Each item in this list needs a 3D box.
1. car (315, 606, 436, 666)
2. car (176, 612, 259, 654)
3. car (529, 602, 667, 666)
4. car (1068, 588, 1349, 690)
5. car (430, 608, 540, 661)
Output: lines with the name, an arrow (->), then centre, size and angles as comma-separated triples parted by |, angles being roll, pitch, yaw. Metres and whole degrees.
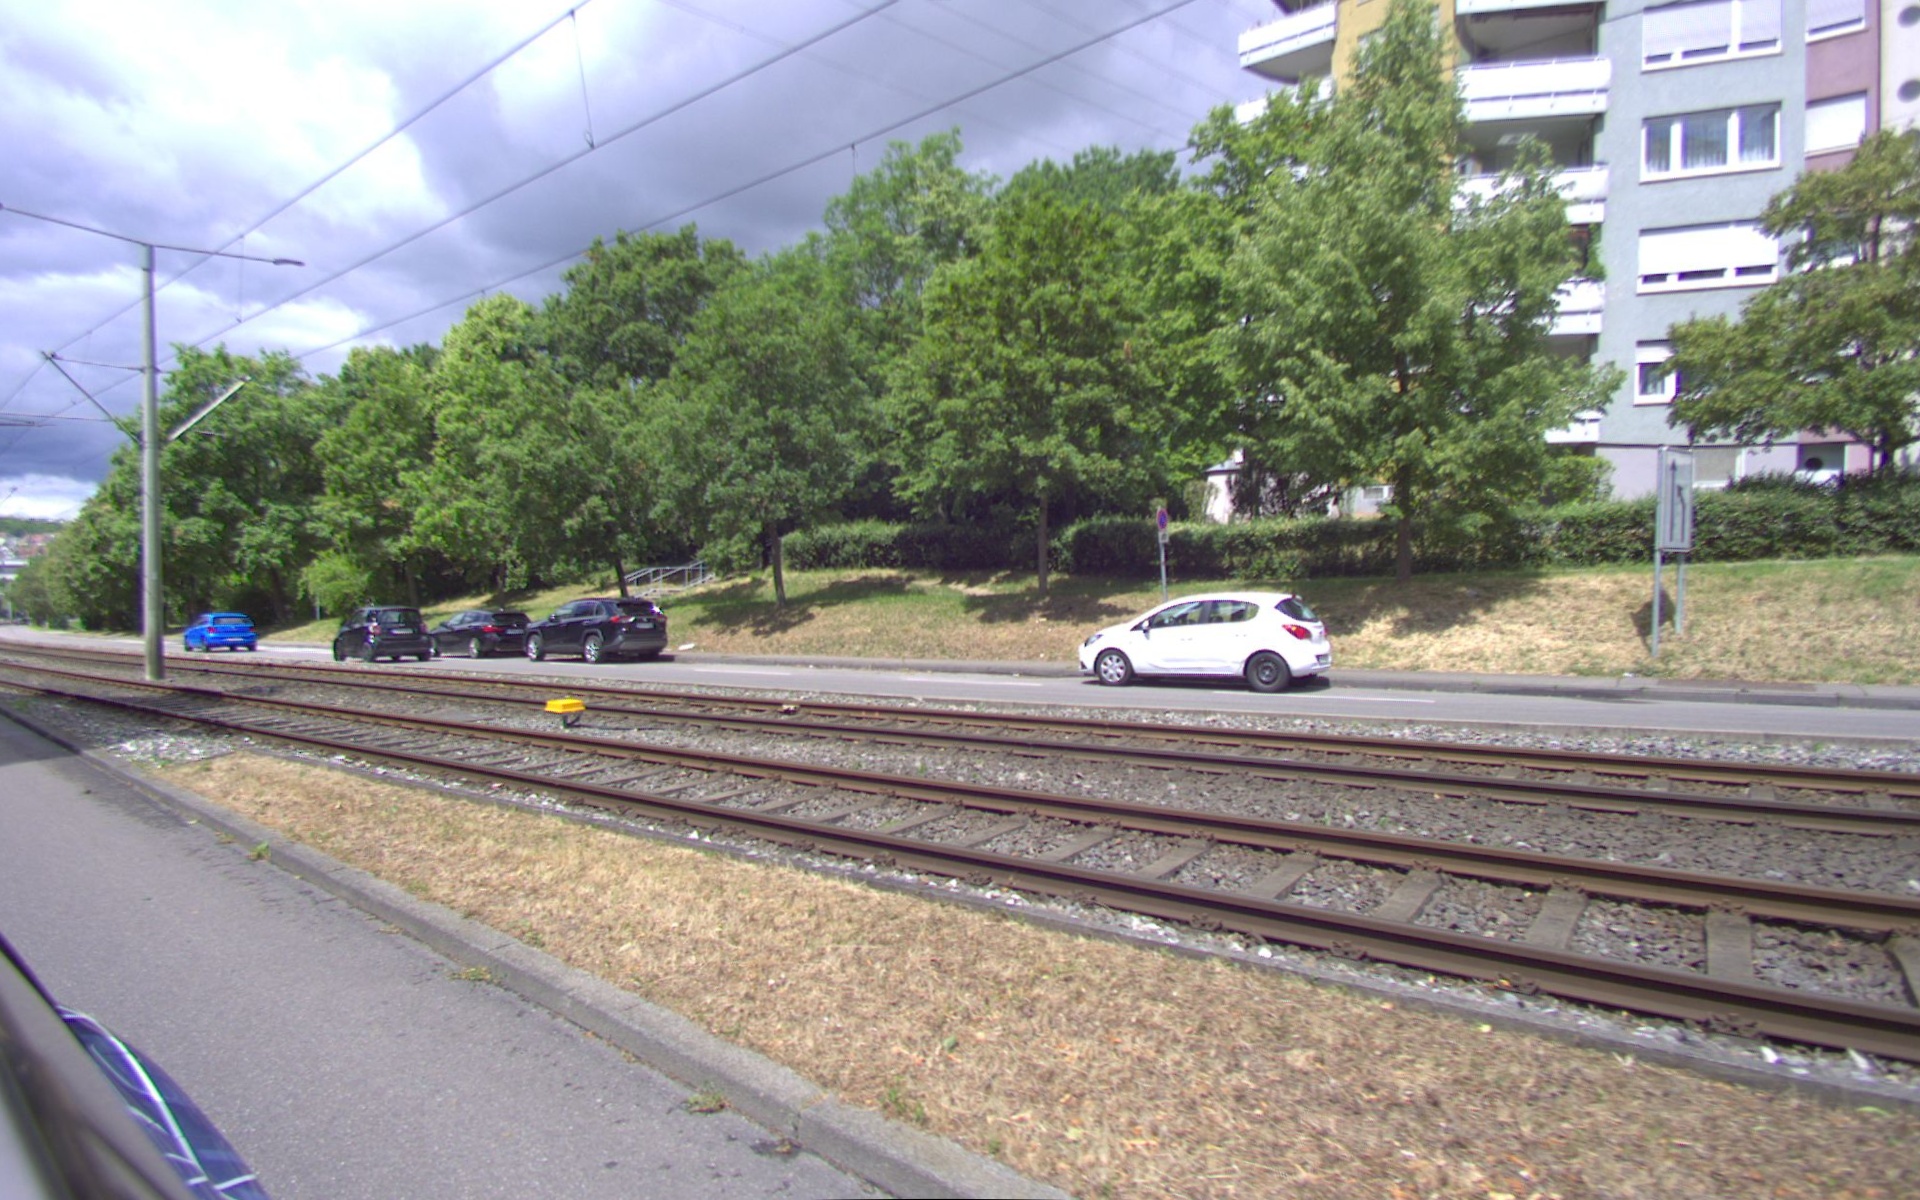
car -> -16.233, 0.964, 28.061 | 3.733, 1.524, 1.639 | -1, 0, 38
car -> -28.314, 1.244, 38.556 | 3.733, 1.466, 1.616 | -1, 0, 38
car -> -9.441, 0.866, 26.288 | 3.733, 1.524, 1.639 | -1, 0, 38
car -> 3.872, 0.578, 16.013 | 3.990, 1.429, 1.640 | -1, 0, 35
car -> -14.126, 0.993, 30.049 | 3.465, 1.451, 1.586 | -1, 0, 38
